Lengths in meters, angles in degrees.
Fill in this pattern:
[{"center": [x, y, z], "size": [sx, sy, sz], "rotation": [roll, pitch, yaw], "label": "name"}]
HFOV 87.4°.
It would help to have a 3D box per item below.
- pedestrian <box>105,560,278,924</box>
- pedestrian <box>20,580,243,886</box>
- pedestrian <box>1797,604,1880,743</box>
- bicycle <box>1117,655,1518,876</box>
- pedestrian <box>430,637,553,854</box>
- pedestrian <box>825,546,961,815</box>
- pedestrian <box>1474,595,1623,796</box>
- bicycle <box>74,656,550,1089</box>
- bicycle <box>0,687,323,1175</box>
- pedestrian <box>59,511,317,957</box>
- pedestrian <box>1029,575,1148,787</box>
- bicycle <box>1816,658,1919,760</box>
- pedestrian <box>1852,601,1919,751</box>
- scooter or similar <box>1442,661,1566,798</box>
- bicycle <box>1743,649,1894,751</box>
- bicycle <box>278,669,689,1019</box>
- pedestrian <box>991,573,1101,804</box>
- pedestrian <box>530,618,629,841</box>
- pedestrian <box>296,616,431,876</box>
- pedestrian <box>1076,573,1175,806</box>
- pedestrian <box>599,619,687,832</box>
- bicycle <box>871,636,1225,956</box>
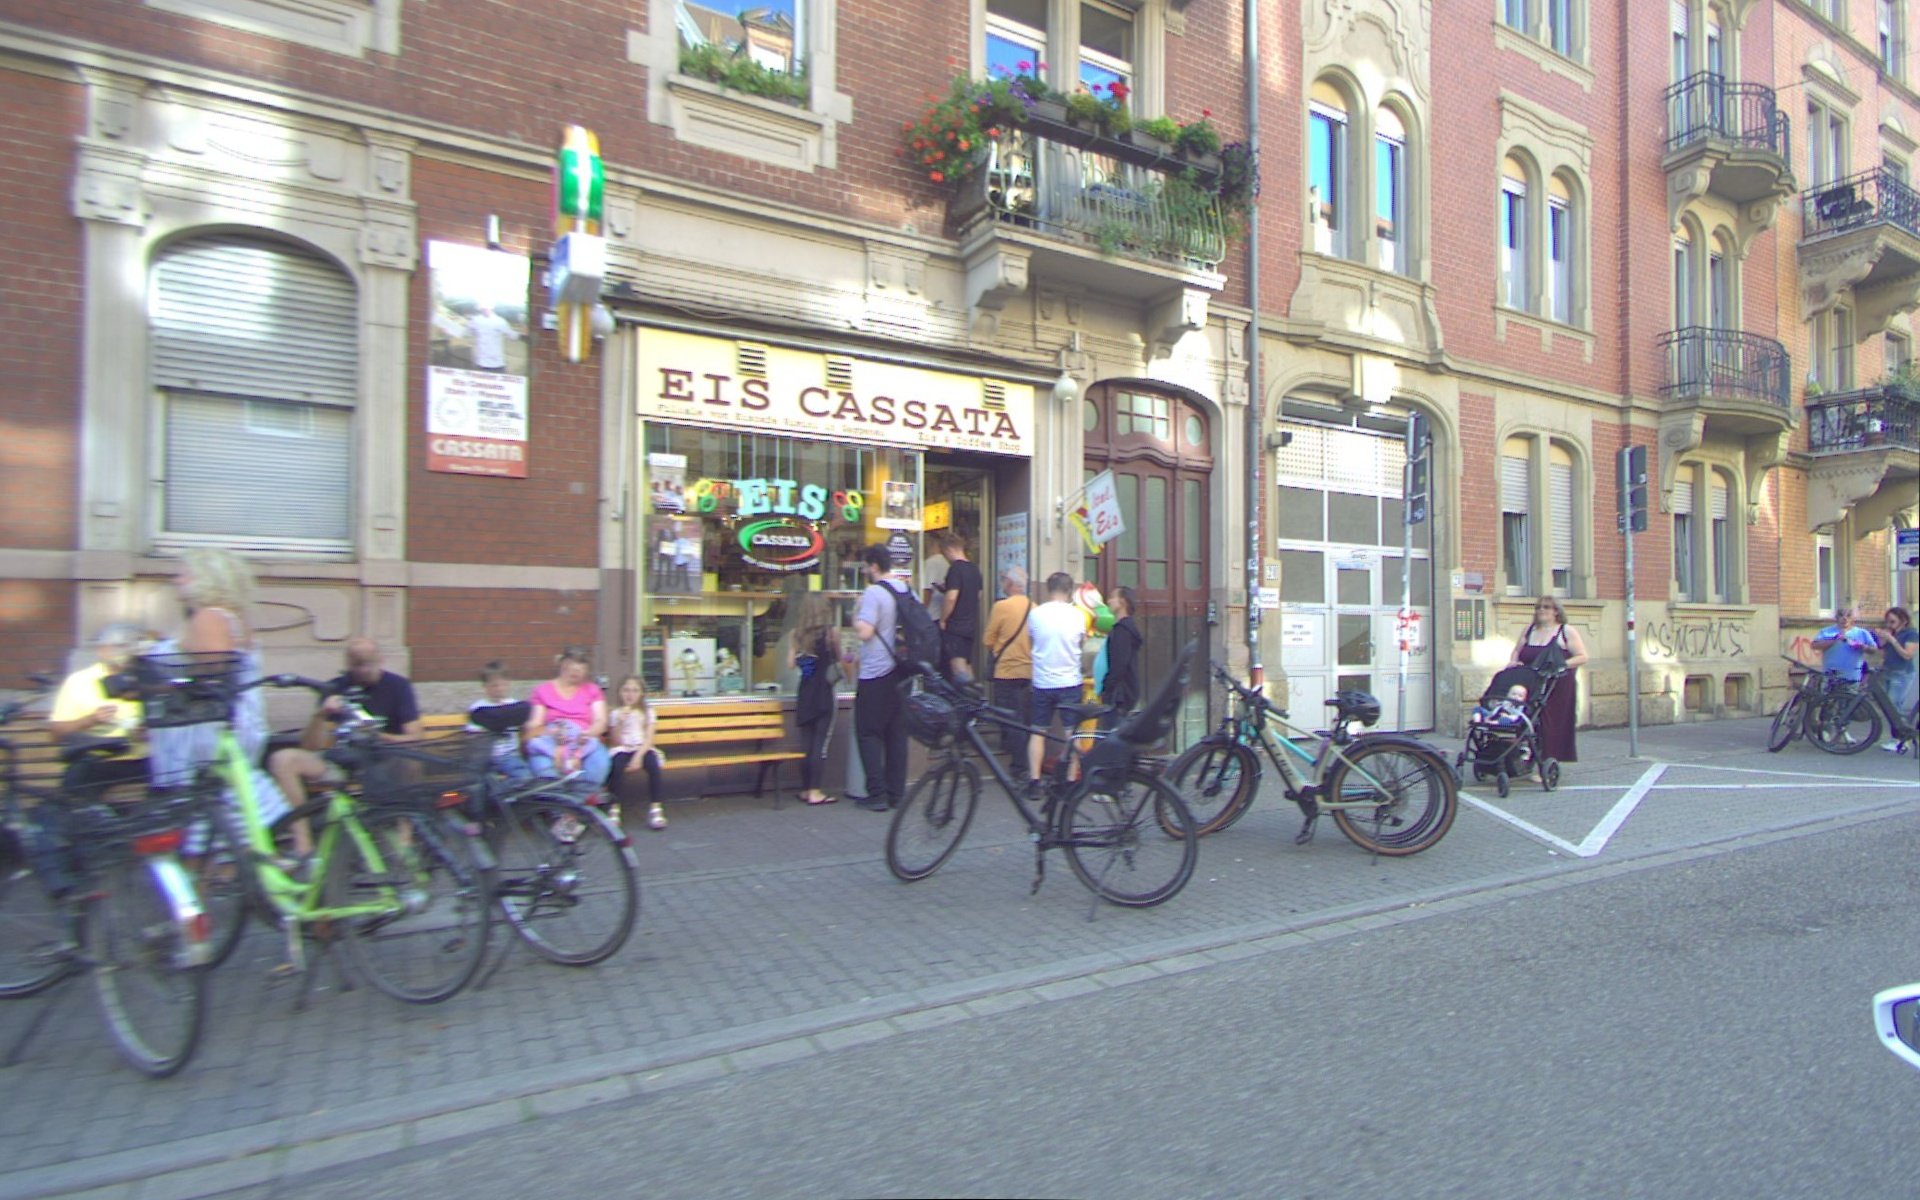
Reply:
[{"center": [-3.724, 0.644, 4.910], "size": [0.577, 1.638, 0.550], "rotation": [1, 0, -30], "label": "pedestrian"}, {"center": [-4.324, 0.656, 5.299], "size": [0.714, 1.489, 0.604], "rotation": [1, 0, -19], "label": "pedestrian"}, {"center": [11.011, 0.895, 12.612], "size": [0.669, 1.683, 0.550], "rotation": [1, 0, 31], "label": "pedestrian"}, {"center": [2.121, 0.974, 6.271], "size": [2.224, 1.174, 0.809], "rotation": [1, 0, 8], "label": "bicycle"}, {"center": [-2.887, 0.845, 6.177], "size": [0.580, 1.212, 0.704], "rotation": [1, 0, -33], "label": "pedestrian"}, {"center": [-0.496, 0.562, 7.500], "size": [0.750, 1.878, 0.664], "rotation": [1, 0, 30], "label": "pedestrian"}, {"center": [5.263, 0.802, 8.991], "size": [0.821, 1.683, 0.904], "rotation": [1, 0, -38], "label": "pedestrian"}, {"center": [-2.377, 0.854, 3.650], "size": [1.757, 1.216, 0.590], "rotation": [1, 0, 25], "label": "bicycle"}, {"center": [-2.798, 0.896, 3.153], "size": [1.540, 1.135, 0.590], "rotation": [1, 0, 24], "label": "bicycle"}, {"center": [-3.337, 0.542, 4.412], "size": [0.714, 1.775, 0.604], "rotation": [1, 0, -19], "label": "pedestrian"}, {"center": [1.100, 0.665, 8.633], "size": [0.754, 1.718, 0.660], "rotation": [1, 0, -30], "label": "pedestrian"}, {"center": [10.725, 1.223, 11.298], "size": [1.868, 1.073, 0.483], "rotation": [2, 0, -6], "label": "bicycle"}, {"center": [11.184, 0.887, 12.032], "size": [0.555, 1.732, 0.667], "rotation": [1, 0, 25], "label": "pedestrian"}, {"center": [4.732, 1.090, 8.735], "size": [0.913, 1.069, 0.601], "rotation": [1, 0, -35], "label": "scooter or similar"}, {"center": [10.090, 1.152, 11.799], "size": [1.876, 1.110, 0.492], "rotation": [2, 0, -21], "label": "bicycle"}, {"center": [-1.988, 0.903, 4.146], "size": [1.705, 1.135, 0.555], "rotation": [1, 0, 25], "label": "bicycle"}, {"center": [0.679, 0.661, 7.882], "size": [0.654, 1.718, 0.585], "rotation": [1, 0, 30], "label": "pedestrian"}, {"center": [-2.458, 0.786, 6.466], "size": [0.435, 1.331, 0.713], "rotation": [1, 0, -33], "label": "pedestrian"}, {"center": [-3.360, 0.762, 5.652], "size": [0.600, 1.331, 0.719], "rotation": [1, 0, -33], "label": "pedestrian"}, {"center": [1.295, 0.660, 7.823], "size": [0.555, 1.718, 0.646], "rotation": [1, 0, 29], "label": "pedestrian"}, {"center": [-2.122, 0.796, 6.697], "size": [0.369, 1.331, 0.696], "rotation": [1, 0, -33], "label": "pedestrian"}, {"center": [0.413, 0.873, 4.957], "size": [1.645, 1.340, 0.527], "rotation": [1, 0, 25], "label": "bicycle"}]
